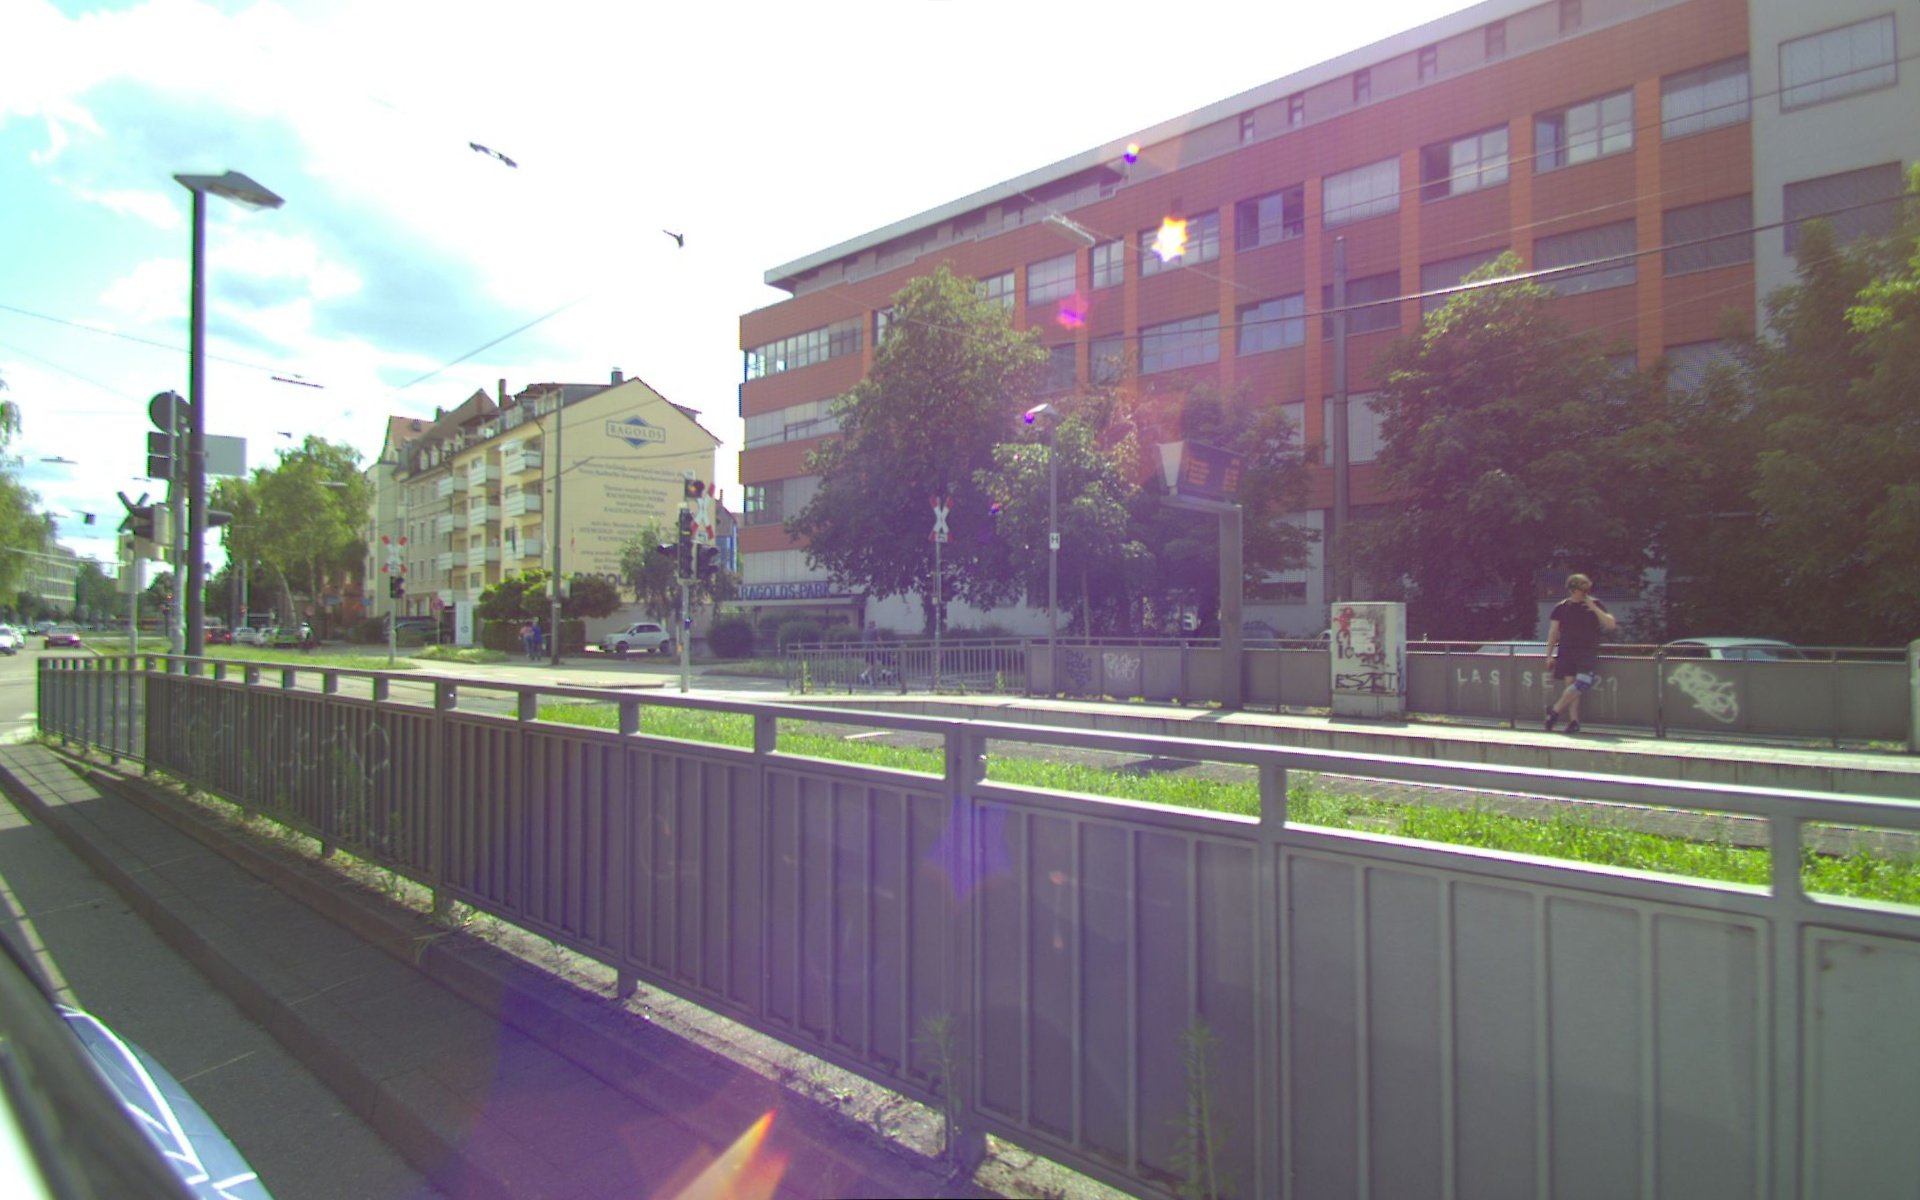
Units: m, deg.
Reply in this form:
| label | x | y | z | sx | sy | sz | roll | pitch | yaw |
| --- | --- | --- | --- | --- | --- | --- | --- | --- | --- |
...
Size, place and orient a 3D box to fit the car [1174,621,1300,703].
| label | x | y | z | sx | sy | sz | roll | pitch | yaw |
| --- | --- | --- | --- | --- | --- | --- | --- | --- | --- |
| car | 6.082 | 1.328 | 22.677 | 1.850 | 1.671 | 3.840 | 0 | -2 | 2 |

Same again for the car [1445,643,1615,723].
| label | x | y | z | sx | sy | sz | roll | pitch | yaw |
| --- | --- | --- | --- | --- | --- | --- | --- | --- | --- |
| car | 10.536 | 1.493 | 18.965 | 1.584 | 1.314 | 3.246 | 0 | -2 | 6 |

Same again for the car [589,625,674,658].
| label | x | y | z | sx | sy | sz | roll | pitch | yaw |
| --- | --- | --- | --- | --- | --- | --- | --- | --- | --- |
| car | -16.191 | 2.032 | 49.915 | 3.557 | 1.491 | 1.777 | 1 | -5 | -42 |

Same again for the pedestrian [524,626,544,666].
| label | x | y | z | sx | sy | sz | roll | pitch | yaw |
| --- | --- | --- | --- | --- | --- | --- | --- | --- | --- |
| pedestrian | -18.325 | 1.962 | 43.546 | 0.481 | 1.723 | 0.641 | -2 | -2 | 42 |

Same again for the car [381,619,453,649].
| label | x | y | z | sx | sy | sz | roll | pitch | yaw |
| --- | --- | --- | --- | --- | --- | --- | --- | --- | --- |
| car | -38.376 | 2.394 | 71.562 | 4.194 | 2.029 | 2.003 | 1 | -2 | -40 |

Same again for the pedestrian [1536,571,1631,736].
| label | x | y | z | sx | sy | sz | roll | pitch | yaw |
| --- | --- | --- | --- | --- | --- | --- | --- | --- | --- |
| pedestrian | 6.776 | 0.563 | 10.997 | 0.798 | 1.712 | 0.659 | -1 | -2 | 39 |

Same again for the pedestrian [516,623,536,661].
| label | x | y | z | sx | sy | sz | roll | pitch | yaw |
| --- | --- | --- | --- | --- | --- | --- | --- | --- | --- |
| pedestrian | -20.073 | 1.945 | 46.800 | 0.588 | 1.723 | 0.641 | -2 | -2 | 42 |

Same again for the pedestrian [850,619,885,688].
| label | x | y | z | sx | sy | sz | roll | pitch | yaw |
| --- | --- | --- | --- | --- | --- | --- | --- | --- | --- |
| pedestrian | -2.443 | 1.407 | 26.706 | 0.619 | 1.807 | 0.651 | -2 | -4 | 36 |

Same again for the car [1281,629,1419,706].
| label | x | y | z | sx | sy | sz | roll | pitch | yaw |
| --- | --- | --- | --- | --- | --- | --- | --- | --- | --- |
| car | 8.292 | 1.384 | 21.876 | 1.630 | 1.508 | 3.995 | 0 | -2 | 4 |

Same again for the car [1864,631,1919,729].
| label | x | y | z | sx | sy | sz | roll | pitch | yaw |
| --- | --- | --- | --- | --- | --- | --- | --- | --- | --- |
| car | 14.967 | 1.223 | 14.348 | 1.652 | 1.420 | 3.062 | 1 | 0 | 5 |

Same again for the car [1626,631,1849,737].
| label | x | y | z | sx | sy | sz | roll | pitch | yaw |
| --- | --- | --- | --- | --- | --- | --- | --- | --- | --- |
| car | 12.608 | 1.291 | 16.668 | 1.568 | 1.431 | 3.301 | -1 | 0 | 11 |

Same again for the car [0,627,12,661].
| label | x | y | z | sx | sy | sz | roll | pitch | yaw |
| --- | --- | --- | --- | --- | --- | --- | --- | --- | --- |
| car | -48.920 | 2.206 | 50.722 | 3.815 | 1.627 | 1.823 | 0 | 0 | 44 |

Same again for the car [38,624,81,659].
| label | x | y | z | sx | sy | sz | roll | pitch | yaw |
| --- | --- | --- | --- | --- | --- | --- | --- | --- | --- |
| car | -57.021 | 2.612 | 64.119 | 1.969 | 2.029 | 4.005 | -1 | 0 | -42 |

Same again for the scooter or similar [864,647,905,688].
| label | x | y | z | sx | sy | sz | roll | pitch | yaw |
| --- | --- | --- | --- | --- | --- | --- | --- | --- | --- |
| scooter or similar | -2.029 | 1.805 | 27.213 | 0.619 | 1.063 | 0.976 | -2 | -4 | 36 |

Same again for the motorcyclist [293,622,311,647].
| label | x | y | z | sx | sy | sz | roll | pitch | yaw |
| --- | --- | --- | --- | --- | --- | --- | --- | --- | --- |
| motorcyclist | -36.173 | 1.901 | 55.642 | 0.693 | 1.368 | 0.654 | -1 | 0 | 44 |

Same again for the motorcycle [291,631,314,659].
| label | x | y | z | sx | sy | sz | roll | pitch | yaw |
| --- | --- | --- | --- | --- | --- | --- | --- | --- | --- |
| motorcycle | -36.154 | 2.463 | 55.608 | 2.010 | 1.414 | 0.626 | -1 | 0 | 44 |
